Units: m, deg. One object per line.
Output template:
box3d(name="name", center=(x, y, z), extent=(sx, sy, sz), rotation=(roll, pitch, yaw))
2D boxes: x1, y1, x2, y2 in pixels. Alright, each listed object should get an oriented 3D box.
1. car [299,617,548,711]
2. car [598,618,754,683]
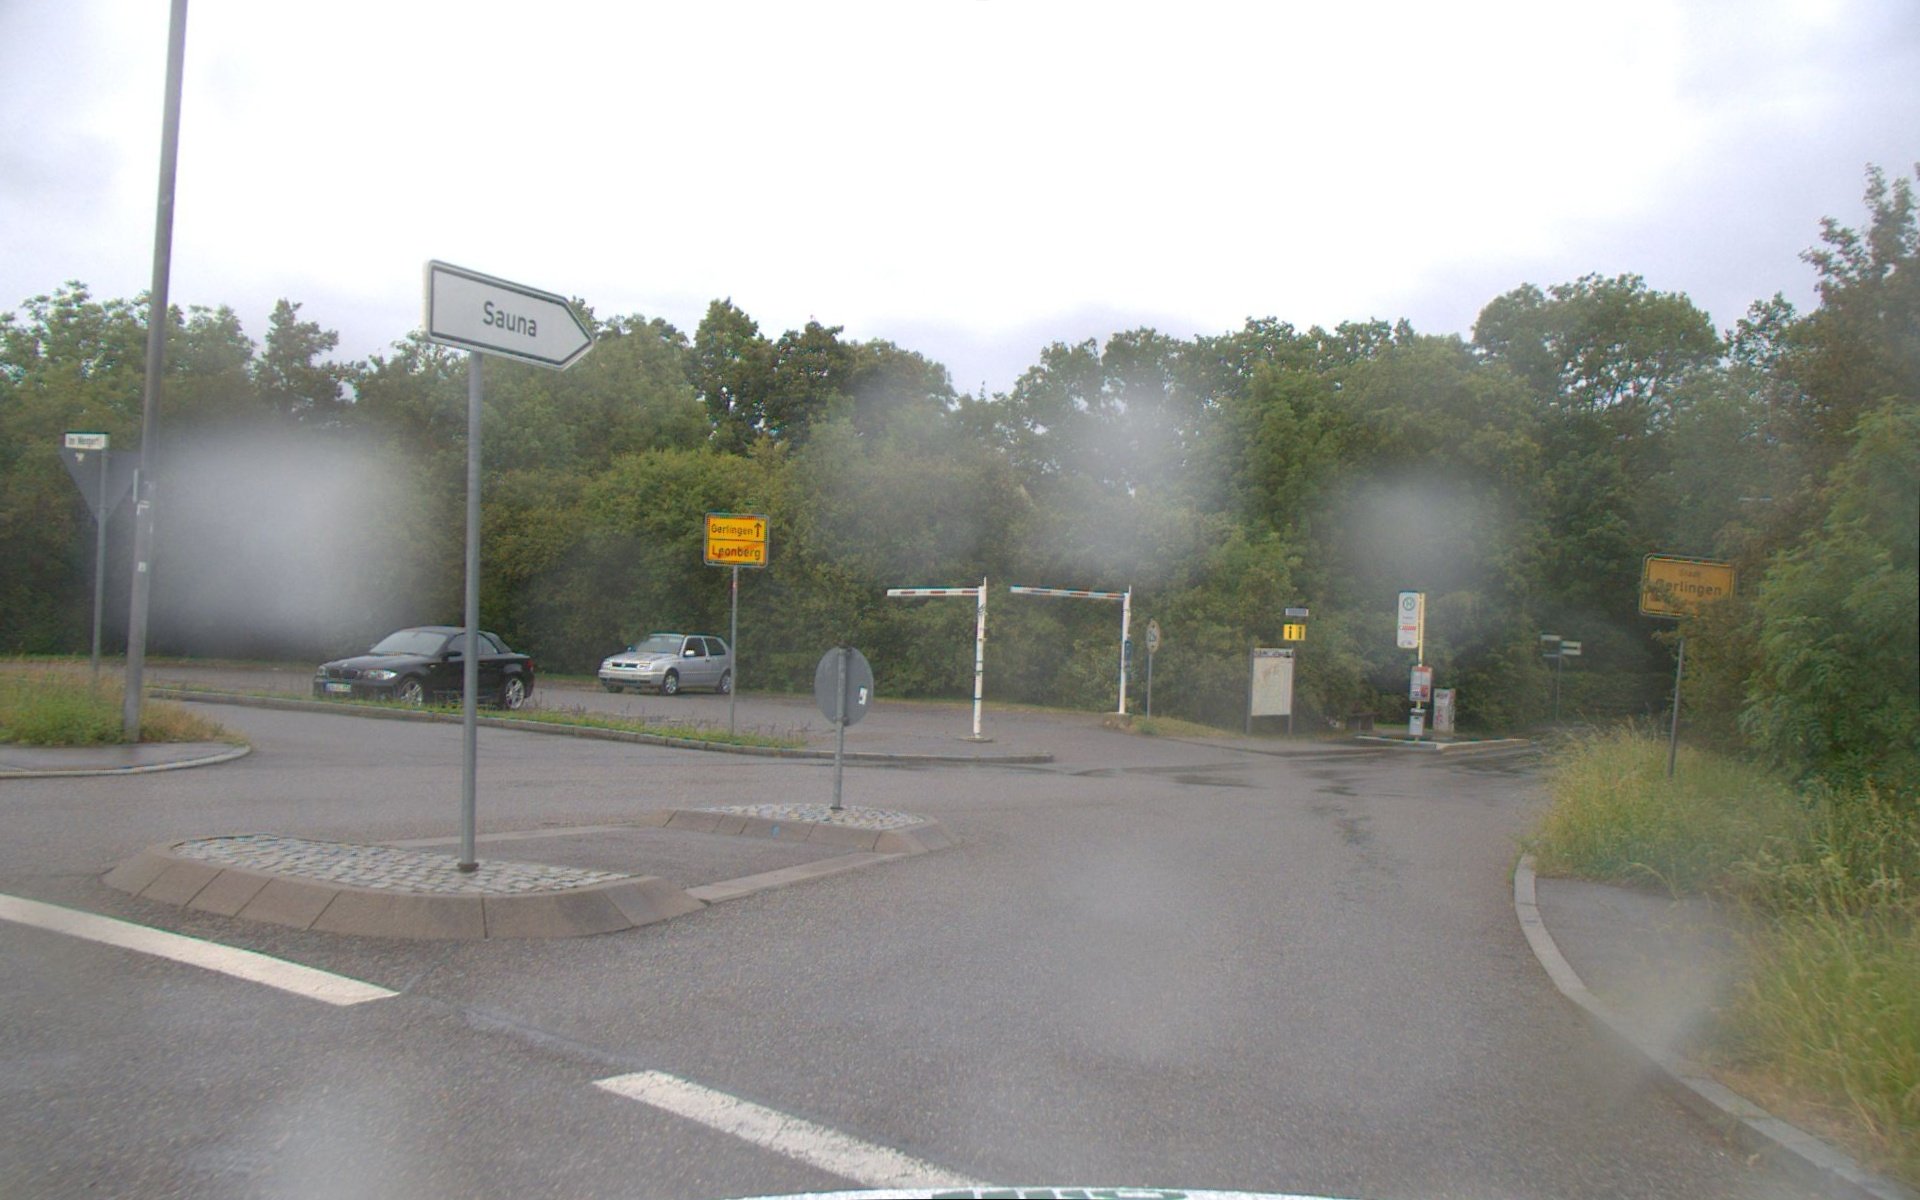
box3d(name="car", center=(-8.820, 1.114, 27.585), extent=(1.587, 1.379, 4.189), rotation=(2, -3, 21))
box3d(name="car", center=(-6.626, 1.220, 39.039), extent=(1.570, 1.379, 4.120), rotation=(2, -2, 24))
